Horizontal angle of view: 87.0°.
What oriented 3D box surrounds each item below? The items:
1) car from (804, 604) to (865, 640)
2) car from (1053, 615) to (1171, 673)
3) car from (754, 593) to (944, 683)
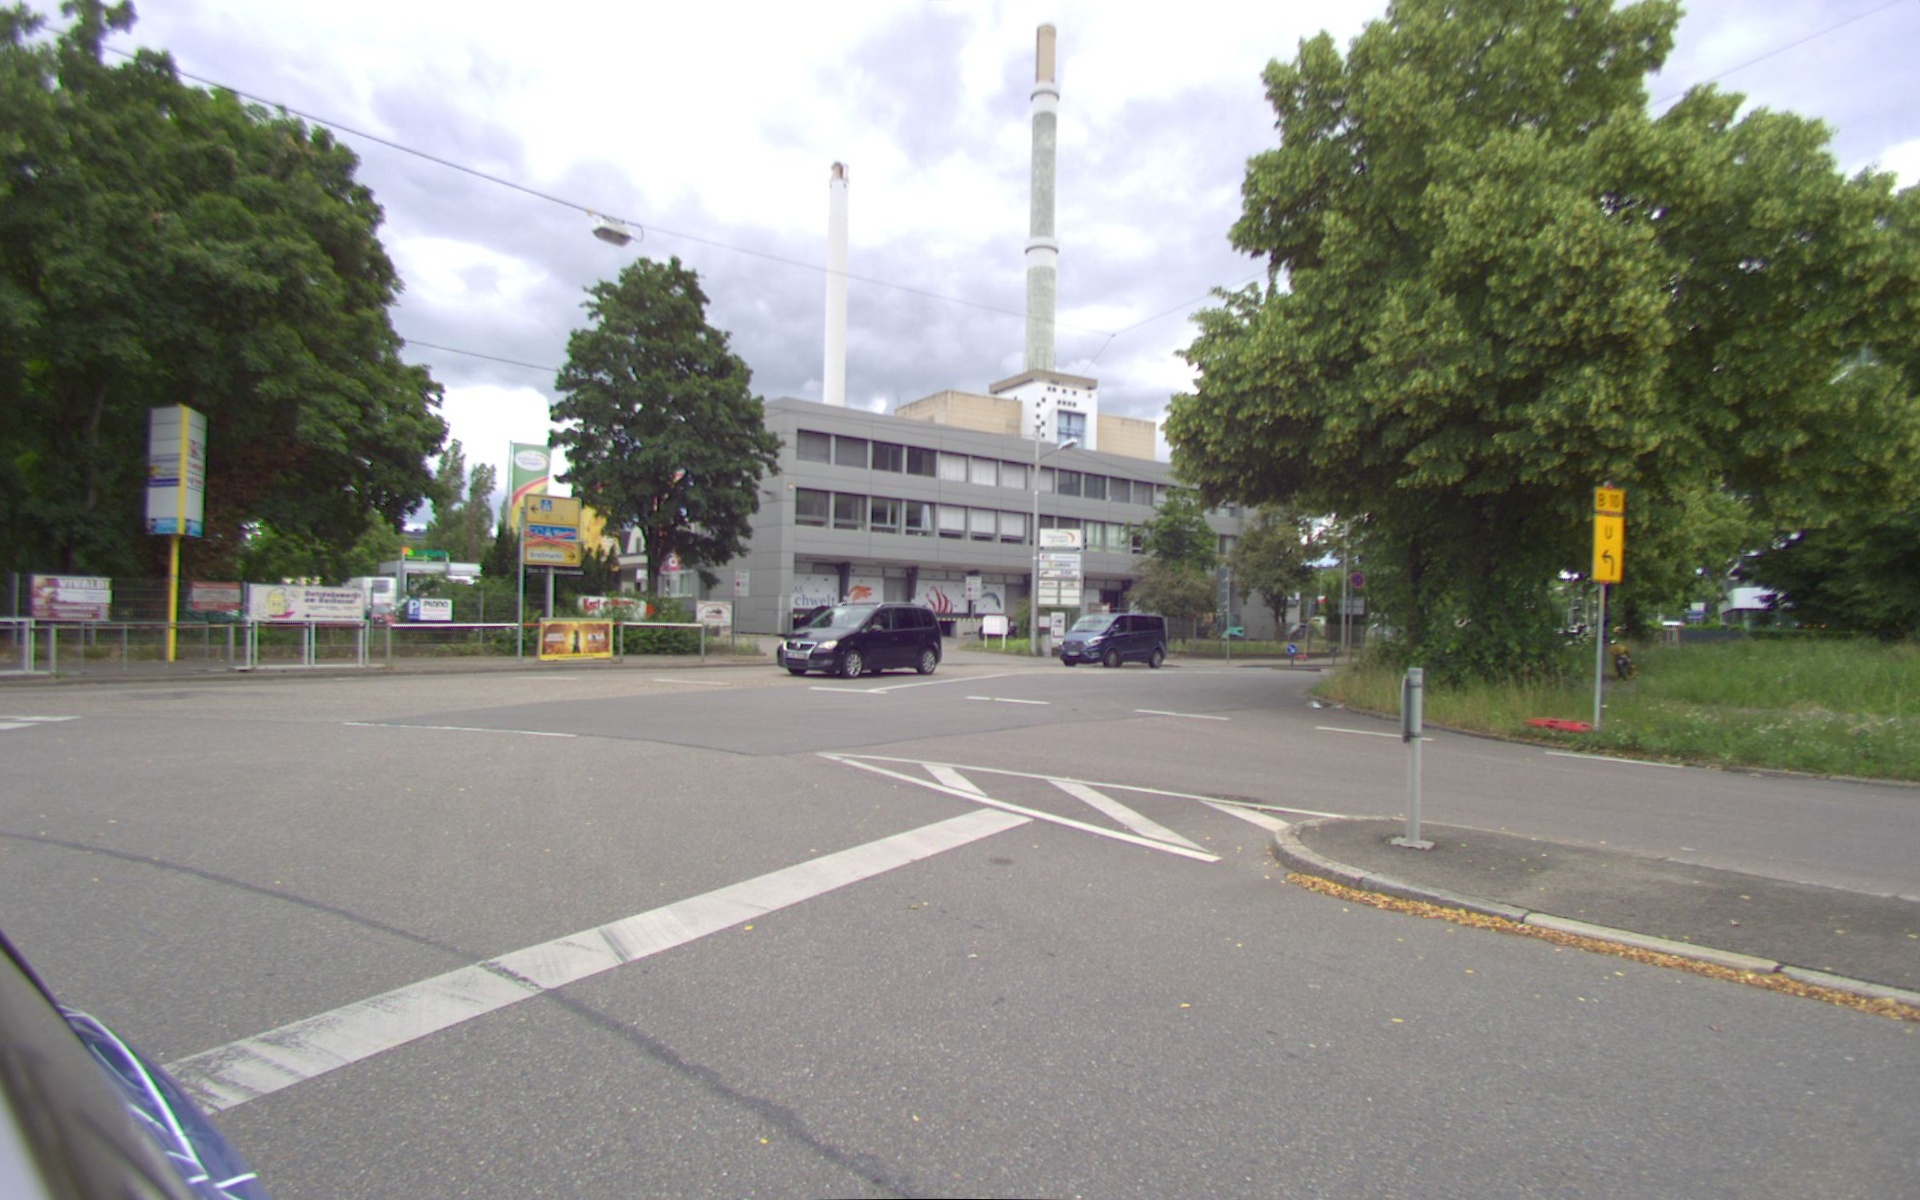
[{"bbox_3d":[-6.611,1.134,53.099,1.748,1.691,3.582,-2,2,-34],"label":"car"},{"bbox_3d":[5.544,1.556,36.489,1.833,1.959,4.734,-1,-2,43],"label":"car"},{"bbox_3d":[-2.320,0.867,22.271,1.829,1.785,4.179,0,-4,35],"label":"car"}]
